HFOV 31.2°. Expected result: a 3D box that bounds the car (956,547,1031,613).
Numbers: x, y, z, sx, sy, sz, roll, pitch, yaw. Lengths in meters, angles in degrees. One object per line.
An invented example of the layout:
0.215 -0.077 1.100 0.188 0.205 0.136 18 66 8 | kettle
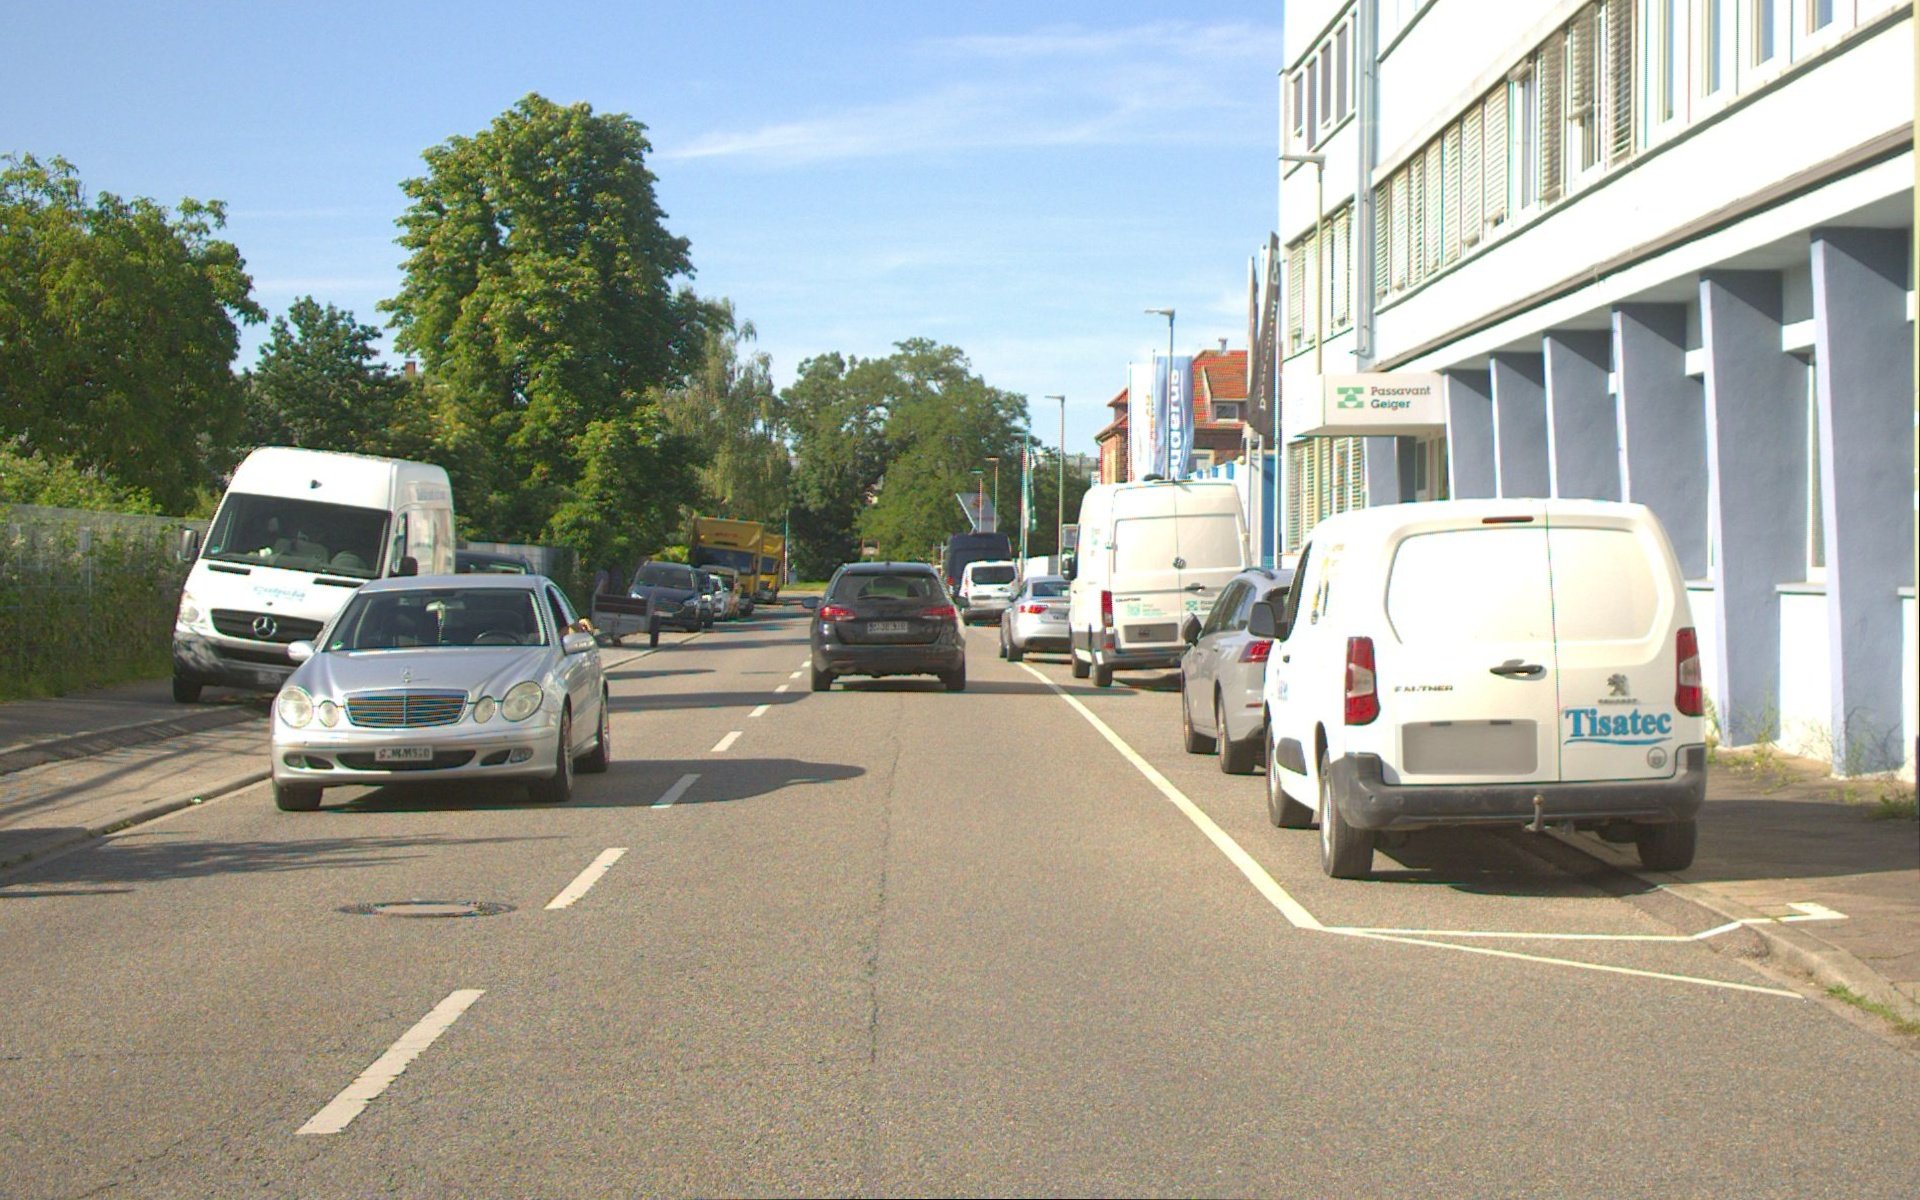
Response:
0.951 -0.570 100.005 1.885 1.791 5.104 2 0 -2 | car

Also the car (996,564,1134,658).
1.654 0.162 55.660 1.894 1.400 5.124 2 0 -1 | car

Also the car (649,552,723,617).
-7.833 -0.470 98.713 1.908 1.657 4.464 5 1 -4 | car

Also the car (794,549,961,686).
-0.928 0.167 40.163 1.847 1.525 4.000 0 1 0 | car

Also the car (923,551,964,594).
-0.825 -1.322 166.506 1.874 2.007 5.160 2 0 -1 | car

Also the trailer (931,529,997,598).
0.128 -1.446 136.460 2.459 2.663 5.702 0 0 -1 | trailer

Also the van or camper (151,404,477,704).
-6.556 -0.481 35.649 1.966 2.676 5.948 5 1 1 | van or camper

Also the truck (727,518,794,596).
-9.968 -2.208 172.494 2.631 3.493 8.657 6 2 -1 | truck

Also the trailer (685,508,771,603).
-8.646 -1.639 128.907 2.991 3.431 8.162 0 0 -2 | trailer

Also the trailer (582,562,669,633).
-6.770 -0.063 69.850 1.476 1.349 3.079 2 0 -1 | trailer

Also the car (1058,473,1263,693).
2.493 -0.291 44.187 1.993 2.589 6.052 -1 2 -2 | car

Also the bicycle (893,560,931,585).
-2.496 -1.429 179.185 0.803 1.263 2.258 2 0 -36 | bicycle

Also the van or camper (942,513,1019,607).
0.614 -1.215 106.439 2.140 2.750 6.161 2 0 -1 | van or camper

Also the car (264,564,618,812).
-3.329 0.505 22.805 1.747 1.442 4.361 0 1 -1 | car

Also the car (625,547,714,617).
-7.335 -0.481 87.224 1.791 1.725 4.802 0 1 1 | car

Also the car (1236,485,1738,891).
2.611 0.374 18.262 1.889 1.826 5.090 1 1 0 | car

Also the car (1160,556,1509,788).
2.704 0.461 25.975 1.889 1.555 5.091 1 1 -2 | car

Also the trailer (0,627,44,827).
-6.441 0.706 16.731 2.376 1.076 6.246 4 1 -1 | trailer

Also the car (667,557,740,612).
-8.325 -0.521 112.081 1.908 1.588 5.025 5 1 0 | car
